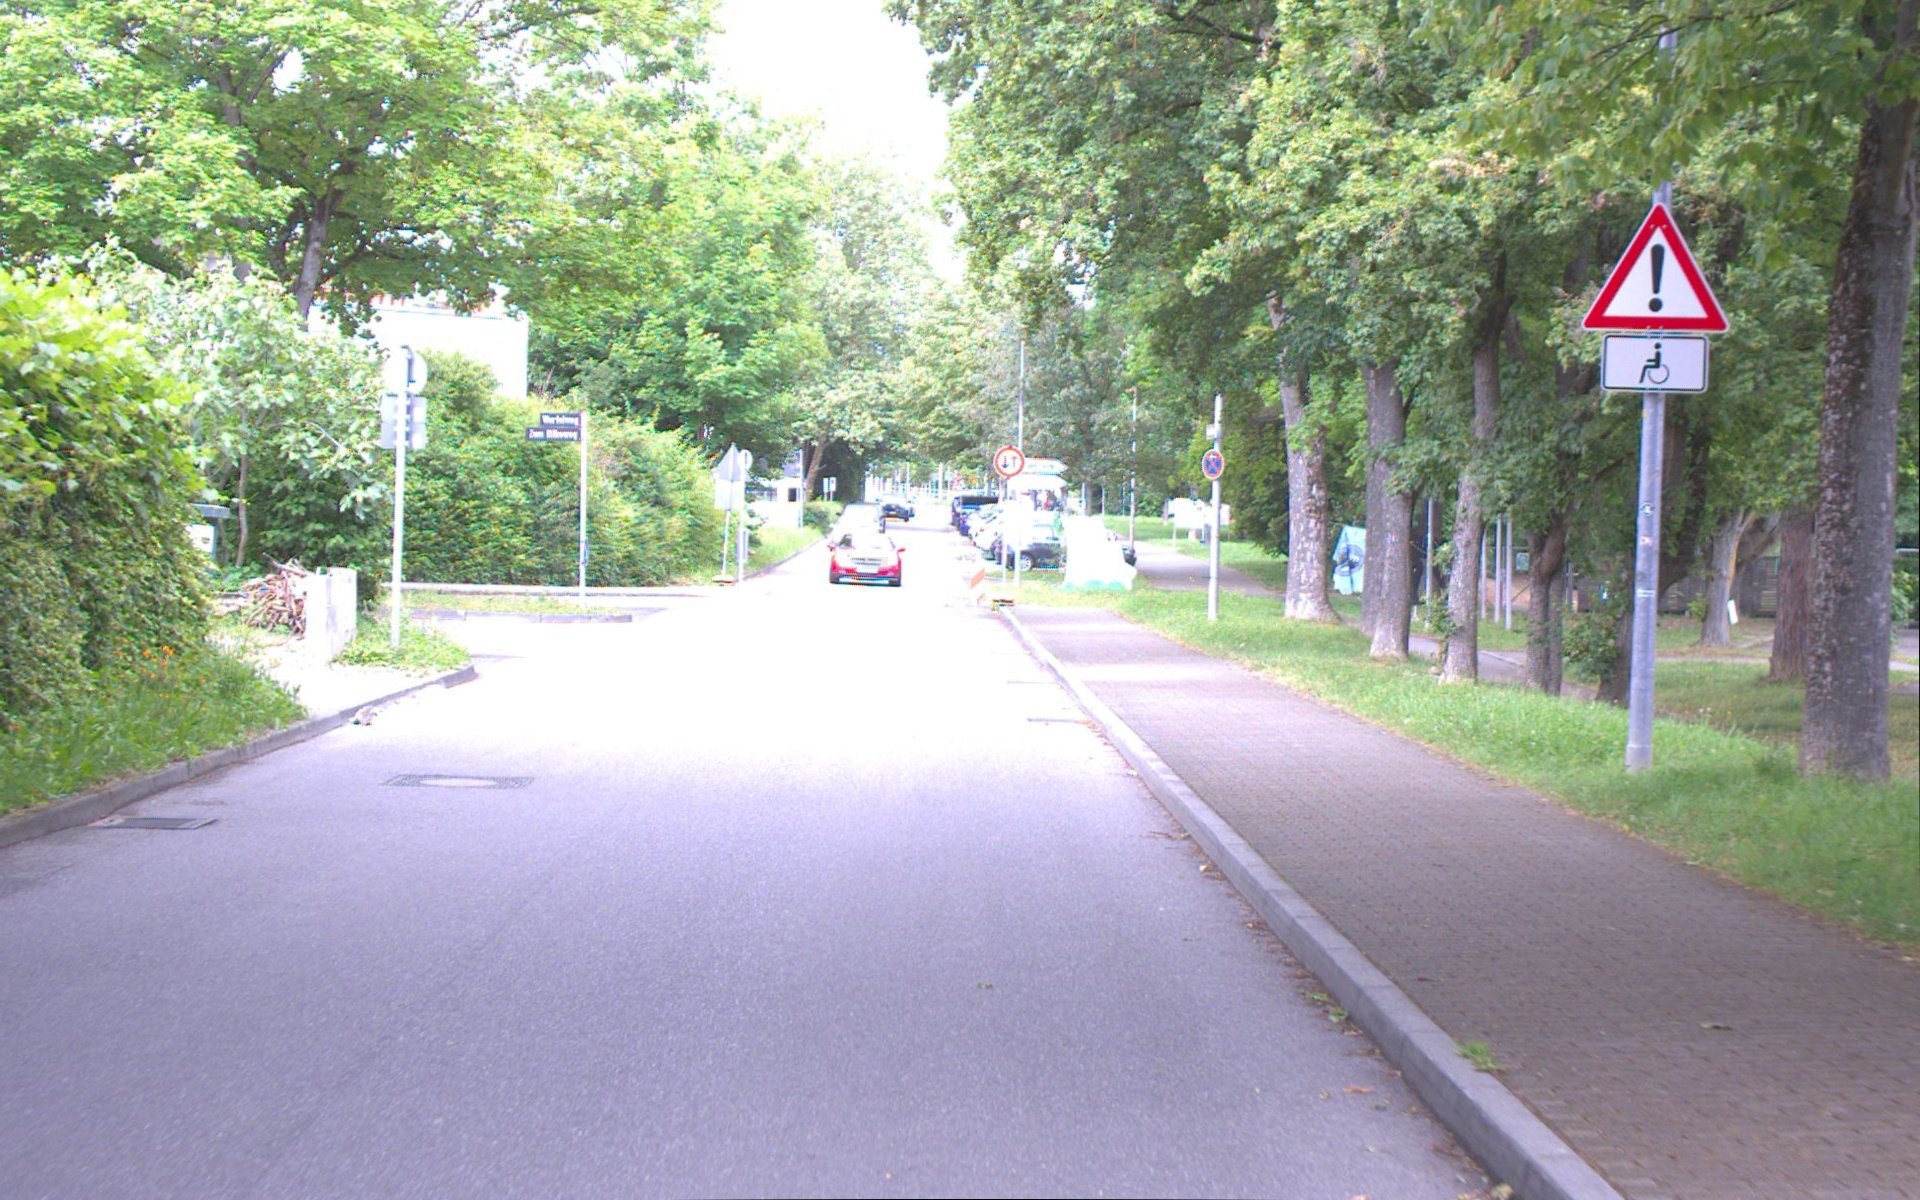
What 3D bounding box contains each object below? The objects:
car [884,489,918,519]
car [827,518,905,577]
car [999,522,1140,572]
[{"bbox_3d":[-3.685,-5.963,213.679,1.968,1.741,4.339,2,2,-1],"label":"car"},{"bbox_3d":[-2.330,-1.311,84.204,1.750,1.331,4.066,2,2,-3],"label":"car"},{"bbox_3d":[3.219,-1.561,101.977,4.063,1.429,2.000,0,0,-1],"label":"car"}]
